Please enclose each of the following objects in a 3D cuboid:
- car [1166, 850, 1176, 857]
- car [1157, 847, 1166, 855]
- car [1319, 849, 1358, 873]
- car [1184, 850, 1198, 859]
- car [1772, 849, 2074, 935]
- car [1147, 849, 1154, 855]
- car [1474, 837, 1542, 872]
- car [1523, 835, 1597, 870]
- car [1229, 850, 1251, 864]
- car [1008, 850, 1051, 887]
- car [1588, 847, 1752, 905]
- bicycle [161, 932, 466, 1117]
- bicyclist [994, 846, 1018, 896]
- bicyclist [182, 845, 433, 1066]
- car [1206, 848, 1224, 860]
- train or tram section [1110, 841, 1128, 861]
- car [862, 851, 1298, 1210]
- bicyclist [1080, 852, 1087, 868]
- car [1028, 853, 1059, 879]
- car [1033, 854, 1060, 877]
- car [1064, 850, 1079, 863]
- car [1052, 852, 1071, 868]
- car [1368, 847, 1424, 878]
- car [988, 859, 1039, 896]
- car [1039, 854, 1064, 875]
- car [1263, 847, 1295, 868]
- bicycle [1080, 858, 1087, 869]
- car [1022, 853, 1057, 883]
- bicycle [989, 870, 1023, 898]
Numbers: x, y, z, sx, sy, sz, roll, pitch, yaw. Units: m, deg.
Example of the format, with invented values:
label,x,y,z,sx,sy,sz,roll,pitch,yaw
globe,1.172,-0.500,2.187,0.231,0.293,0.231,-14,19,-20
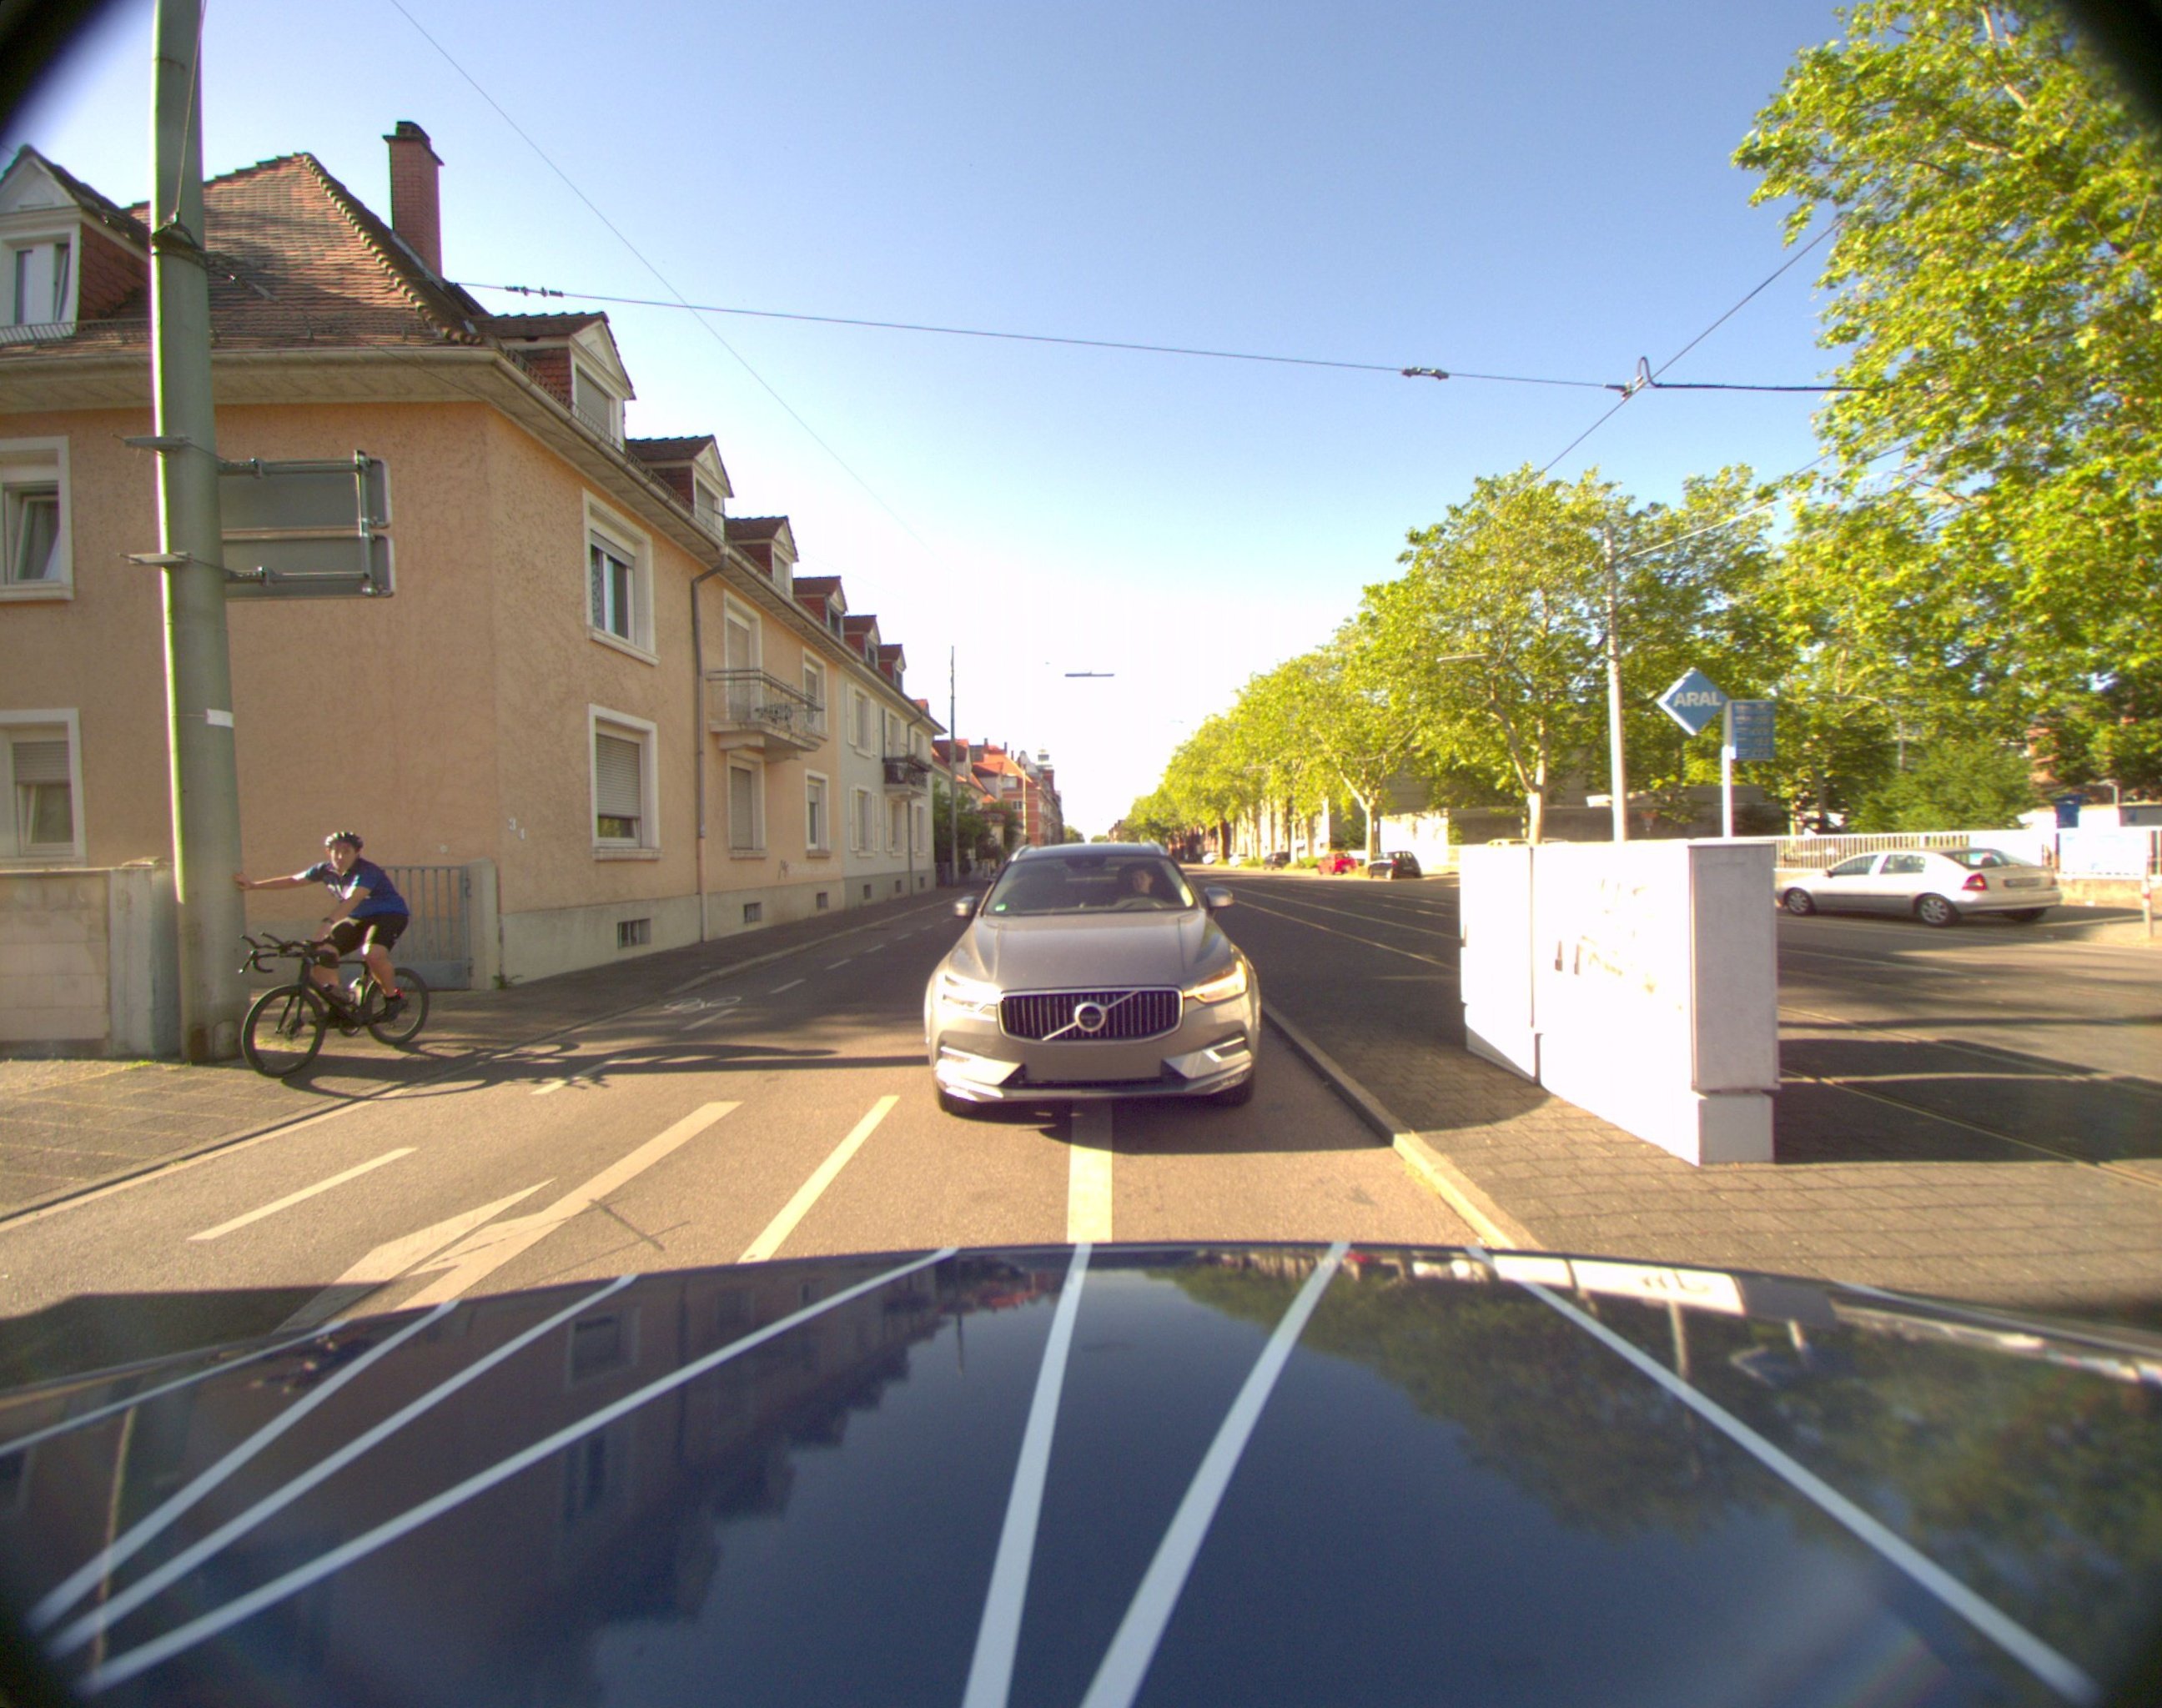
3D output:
label,x,y,z,sx,sy,sz,roll,pitch,yaw
car,19.253,-0.182,161.874,1.695,1.440,3.749,-3,0,1
car,20.223,-0.715,191.411,1.695,1.775,3.749,-3,0,1
car,16.870,0.441,49.863,1.599,1.498,2.622,-3,0,1
car,18.186,0.081,125.520,1.695,1.440,3.749,-3,0,1
car,16.221,0.645,14.978,1.695,1.395,3.813,-3,0,1
car,19.638,-0.608,214.805,1.695,1.775,3.749,-3,0,1
car,21.539,0.020,38.470,1.599,1.606,3.304,-2,0,1
car,23.873,-0.076,38.022,1.599,1.583,3.304,-2,0,1
car,17.453,0.300,83.540,1.695,1.440,3.749,-3,0,1
car,-2.831,0.748,42.815,1.793,1.828,5.149,-3,0,2
car,16.405,0.565,21.413,1.695,1.395,3.749,-3,0,1
bicycle,-6.005,1.263,6.121,0.592,1.062,1.775,4,0,1
bicyclist,-2.927,0.662,29.728,0.518,1.922,0.947,-2,-2,23
bicyclist,-6.202,0.765,6.163,1.051,1.599,0.885,4,0,1
car,17.782,0.035,100.711,1.695,1.440,3.749,-3,0,1
train or tram section,7.226,-0.585,146.396,2.717,3.643,12.653,-1,0,0
car,0.026,0.832,5.749,1.998,1.628,4.306,-2,0,1
bicyclist,0.225,0.627,79.818,0.685,1.611,0.855,-2,1,1
car,-2.640,0.843,54.000,1.793,1.673,3.814,-3,0,2
car,-2.728,0.894,61.025,1.793,1.673,3.814,-3,0,2
car,-1.304,0.375,107.098,1.793,1.673,3.814,-3,0,2
car,-2.161,0.644,85.364,1.793,1.673,3.814,-3,0,2
car,16.878,0.433,40.892,1.599,1.498,3.304,-3,0,1
car,-3.229,1.091,37.042,1.695,1.571,3.815,-3,0,5
car,-2.560,0.868,67.070,1.793,1.673,3.814,-3,0,2
car,17.129,0.281,65.886,1.695,1.648,3.749,-3,0,1
bicycle,0.240,1.019,79.815,0.685,1.098,1.806,-2,1,1
car,-2.592,0.861,48.480,1.793,1.673,3.814,-3,0,2
bicycle,-2.919,1.168,29.722,0.518,1.084,1.799,-2,-2,23
